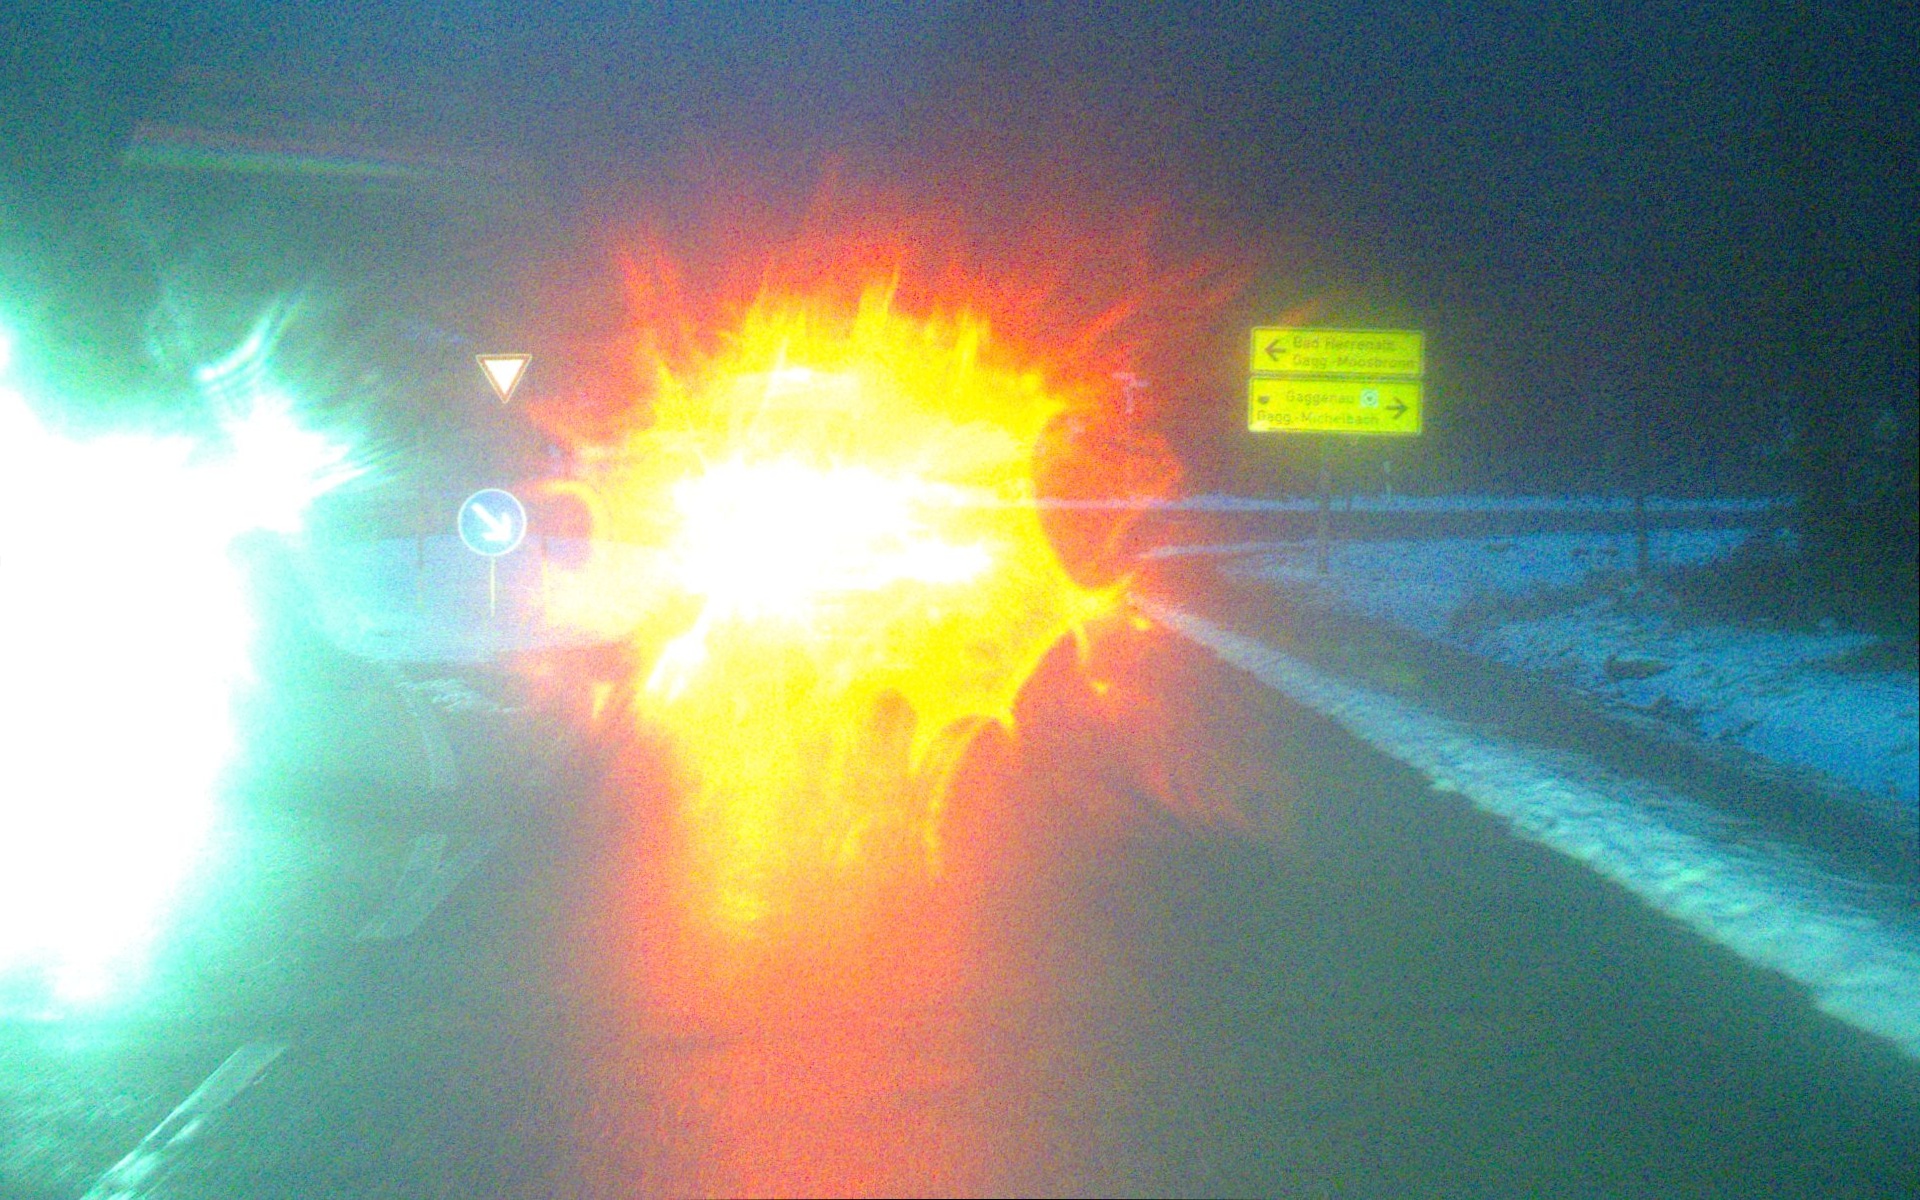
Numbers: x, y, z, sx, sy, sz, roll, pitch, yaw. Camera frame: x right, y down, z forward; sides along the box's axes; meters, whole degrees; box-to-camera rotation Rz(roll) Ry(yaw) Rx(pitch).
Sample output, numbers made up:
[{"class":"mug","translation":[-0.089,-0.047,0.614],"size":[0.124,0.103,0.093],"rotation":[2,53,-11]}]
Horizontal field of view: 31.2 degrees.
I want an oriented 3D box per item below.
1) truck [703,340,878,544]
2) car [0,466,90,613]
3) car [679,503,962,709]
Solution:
[{"class":"truck","translation":[-2.512,-2.256,49.687],"size":[2.075,2.736,5.321],"rotation":[1,2,-7]},{"class":"car","translation":[-10.504,-0.680,37.066],"size":[1.741,1.481,4.006],"rotation":[-2,3,-20]},{"class":"car","translation":[-1.071,-0.011,25.607],"size":[1.921,1.272,4.001],"rotation":[1,3,-3]}]
